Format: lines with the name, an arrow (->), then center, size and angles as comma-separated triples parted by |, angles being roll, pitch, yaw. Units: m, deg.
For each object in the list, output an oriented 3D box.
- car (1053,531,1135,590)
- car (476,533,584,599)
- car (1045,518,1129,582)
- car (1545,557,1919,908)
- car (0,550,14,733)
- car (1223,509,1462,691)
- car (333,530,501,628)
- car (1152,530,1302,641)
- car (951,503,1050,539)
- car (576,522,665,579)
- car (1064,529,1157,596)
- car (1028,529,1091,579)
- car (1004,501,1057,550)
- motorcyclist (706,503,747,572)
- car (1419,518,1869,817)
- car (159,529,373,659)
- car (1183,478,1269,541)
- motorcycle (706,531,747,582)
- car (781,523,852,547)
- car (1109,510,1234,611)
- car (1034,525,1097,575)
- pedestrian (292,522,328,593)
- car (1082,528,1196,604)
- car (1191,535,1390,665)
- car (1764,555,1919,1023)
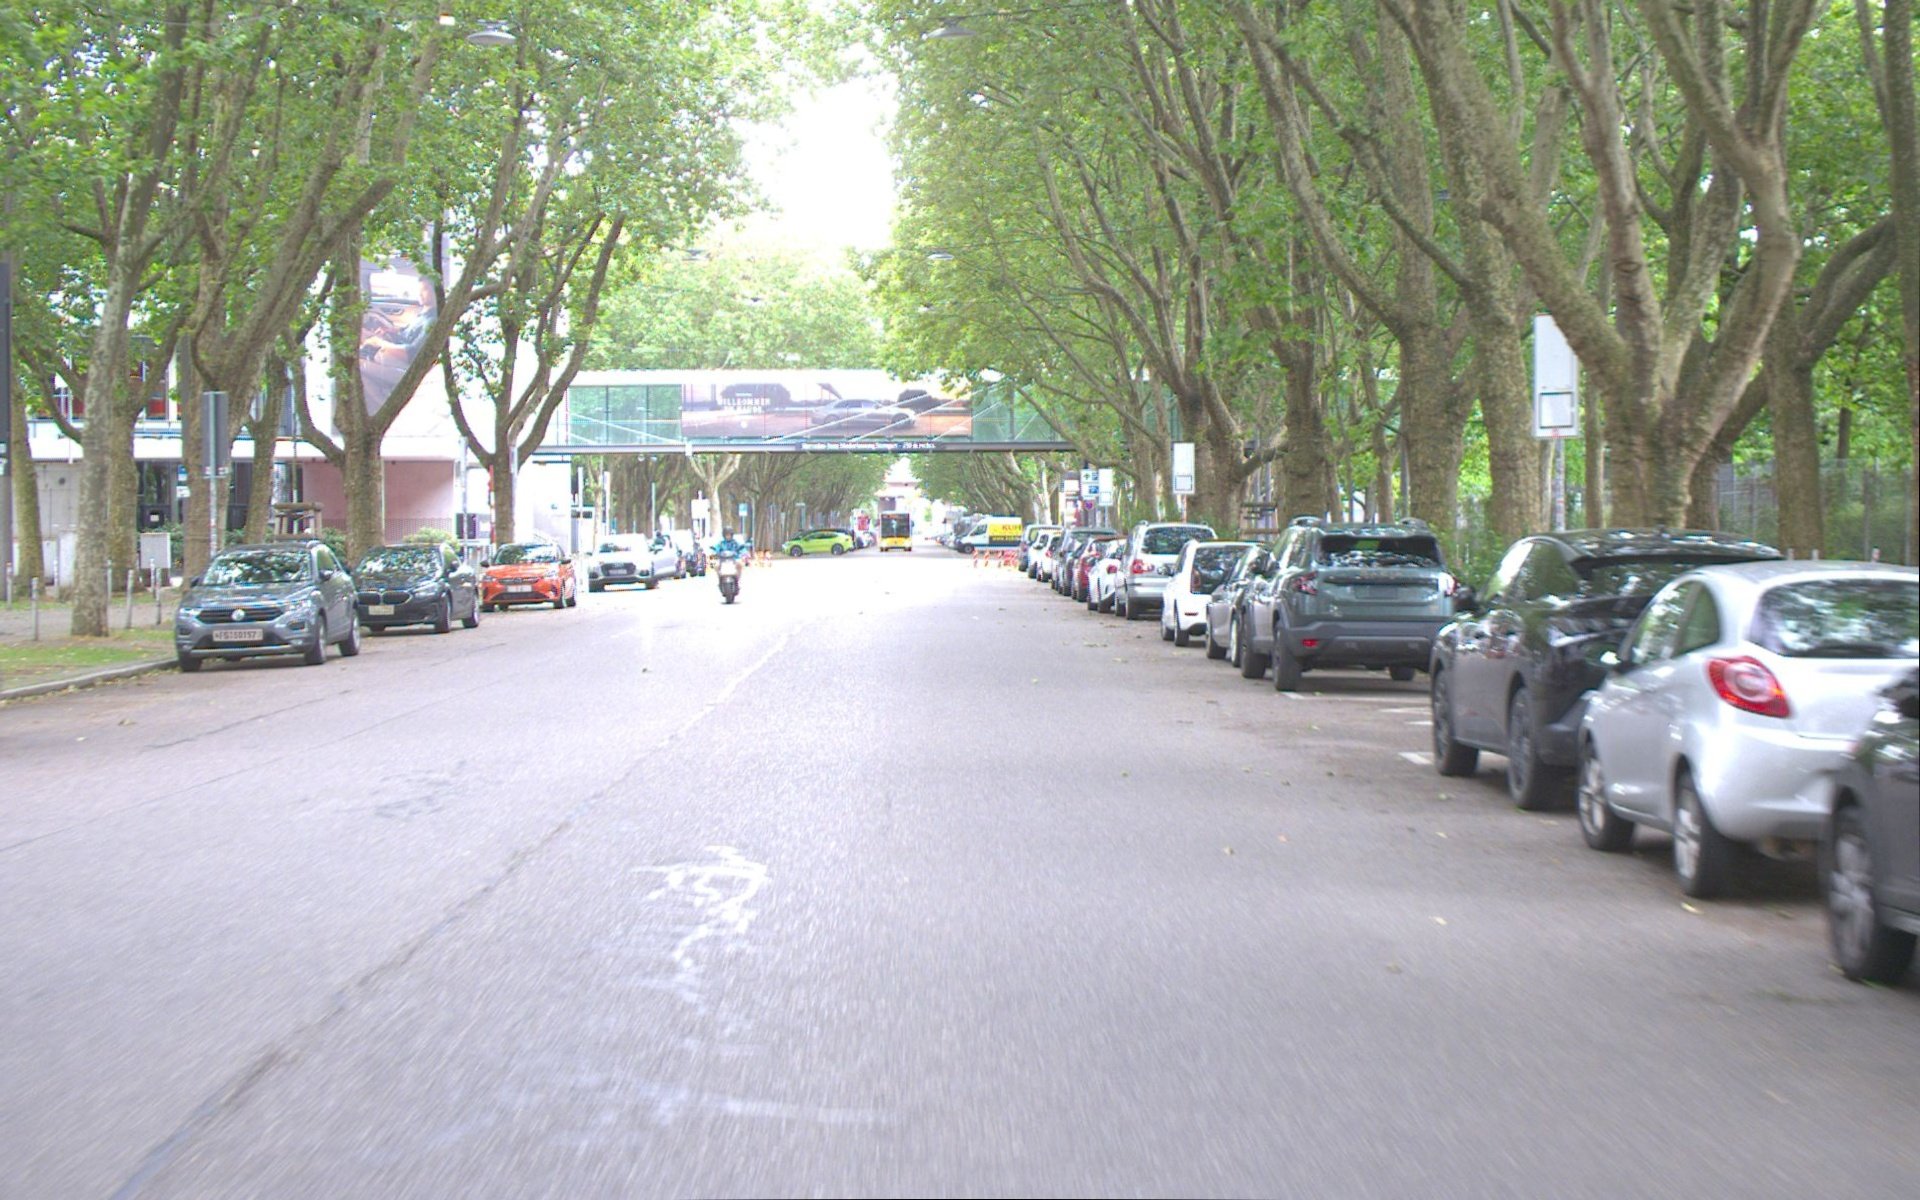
car -> 3.286, -0.999, 84.969 | 1.877, 1.422, 4.480 | 0, 1, 0
car -> -9.126, -0.737, 73.213 | 1.808, 1.349, 4.000 | 0, 1, 0
car -> 3.363, -1.332, 91.864 | 1.981, 1.674, 4.732 | 0, 1, -1
car -> 3.968, 0.556, 16.637 | 1.616, 1.436, 3.710 | 2, 1, 0
car -> -8.630, 0.388, 25.995 | 1.724, 1.481, 4.575 | 0, 1, 0
car -> 3.809, -0.052, 34.938 | 1.707, 1.692, 4.631 | 1, 1, -2
car -> -8.680, -0.368, 55.314 | 1.827, 1.460, 4.627 | -1, 1, 2
car -> 3.659, -0.232, 47.662 | 1.707, 1.422, 3.889 | 1, 1, 0
car -> 2.819, -5.531, 241.066 | 6.822, 2.505, 2.317 | 0, 1, -2
car -> -9.603, -1.429, 97.614 | 2.073, 1.557, 4.756 | 0, 1, 0
car -> 3.404, -0.877, 78.296 | 1.856, 1.476, 4.178 | 0, 1, -1
car -> 3.281, -1.525, 114.189 | 1.914, 1.612, 4.749 | 0, 1, 0
car -> 2.657, -2.824, 130.731 | 1.847, 1.777, 5.211 | 1, 1, 0
motorcyclist -> -5.031, -1.361, 74.188 | 0.870, 1.475, 1.265 | 0, 1, -4
car -> 4.125, 0.328, 21.495 | 1.777, 1.667, 4.638 | 0, 1, -1
car -> -8.773, -0.117, 43.776 | 1.878, 1.521, 4.151 | -1, 1, 0
car -> 6.737, -2.316, 87.388 | 1.802, 1.550, 4.001 | 0, 2, -1
motorcycle -> -5.040, -0.946, 74.107 | 0.873, 1.075, 3.053 | 0, 1, -4
car -> -9.629, -4.367, 230.998 | 4.700, 1.579, 1.864 | 0, 1, 1
car -> 3.725, -0.729, 61.313 | 1.903, 1.733, 4.507 | 0, 1, -1
car -> 3.238, -1.553, 106.392 | 1.807, 1.521, 4.096 | 0, 1, 0
pedestrian -> -15.062, -0.987, 79.640 | 0.592, 1.614, 0.791 | 0, 1, 9
car -> 3.455, -0.680, 67.005 | 1.877, 1.422, 4.586 | 0, 1, -1
car -> 3.854, -0.038, 40.712 | 1.707, 1.410, 4.362 | 1, 1, -3
car -> 3.980, 0.651, 11.115 | 1.668, 1.504, 4.354 | 2, 1, 0
